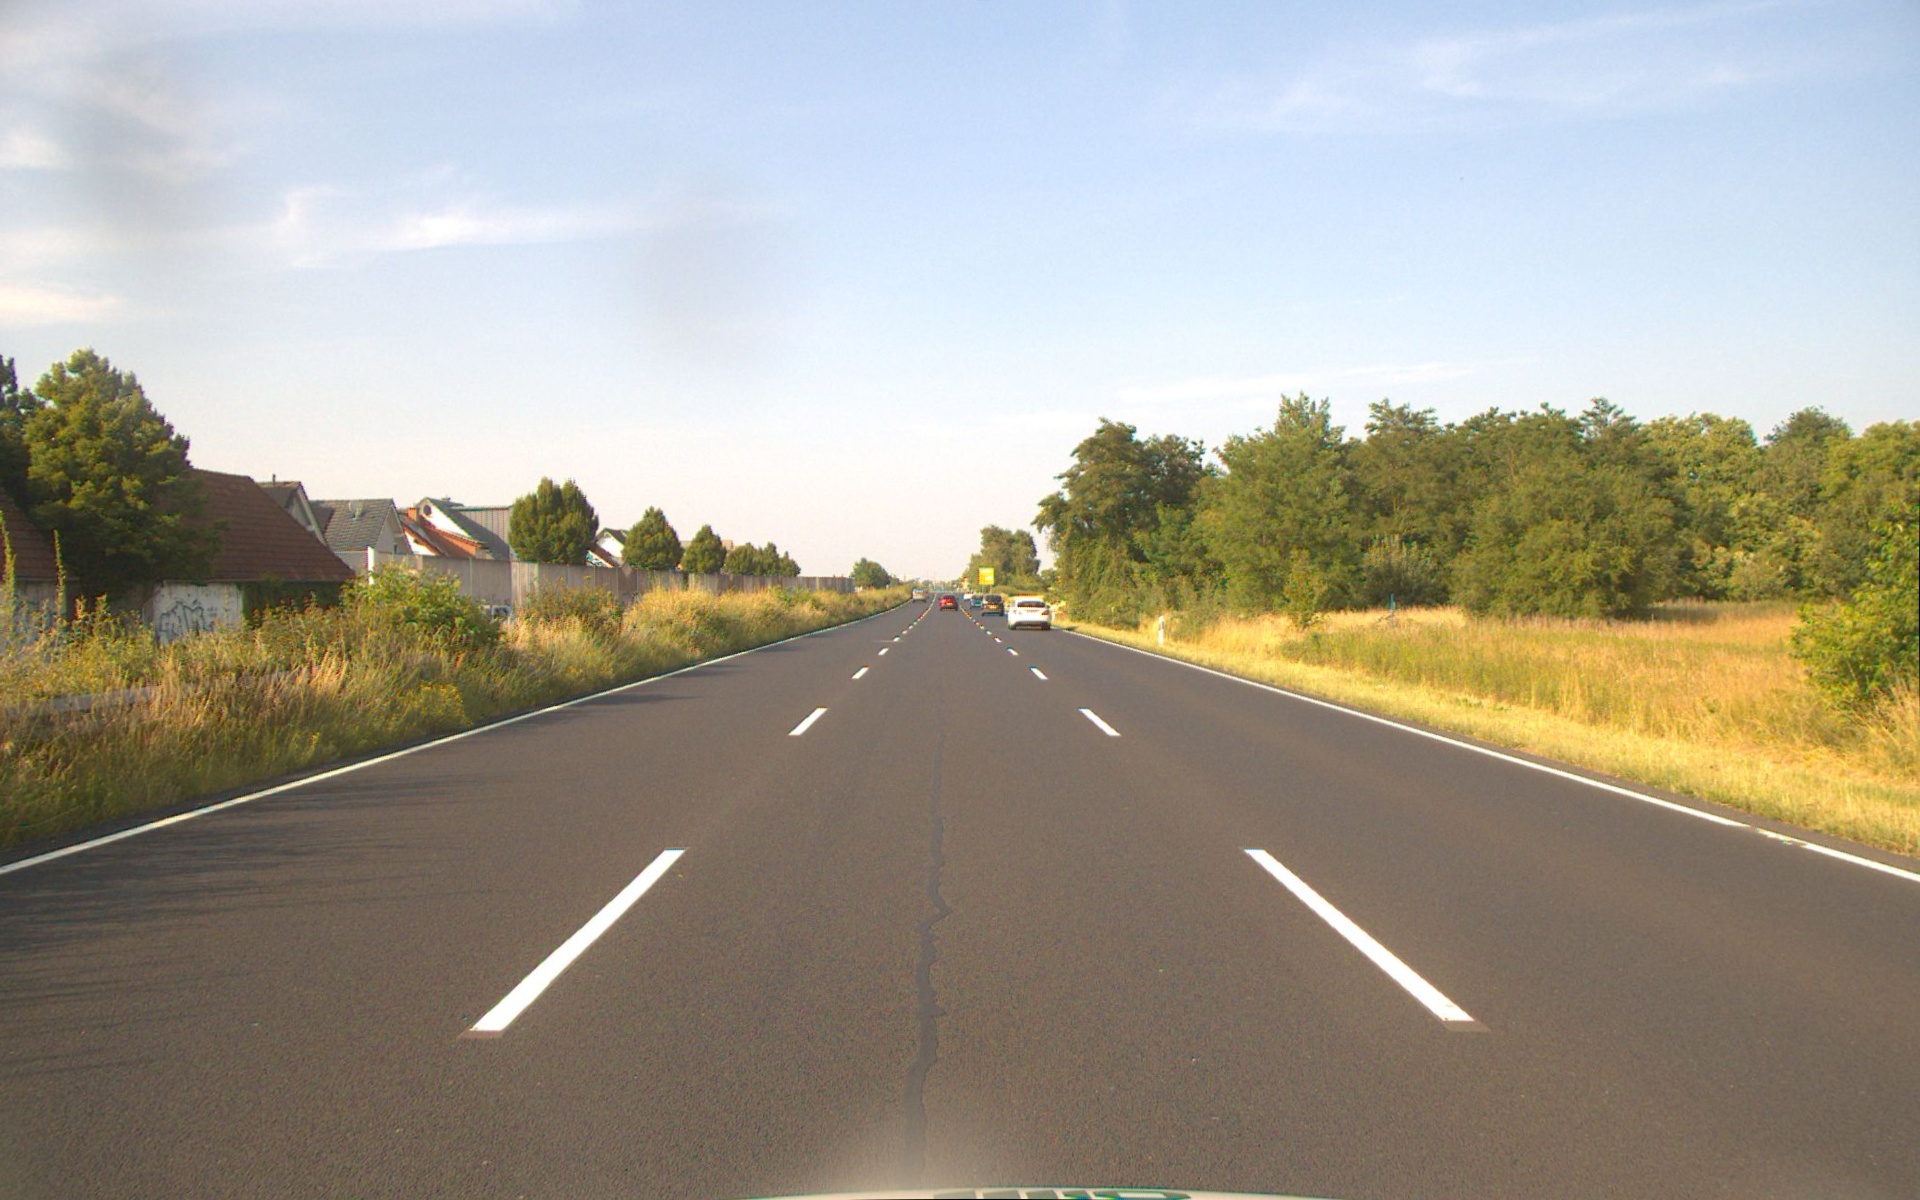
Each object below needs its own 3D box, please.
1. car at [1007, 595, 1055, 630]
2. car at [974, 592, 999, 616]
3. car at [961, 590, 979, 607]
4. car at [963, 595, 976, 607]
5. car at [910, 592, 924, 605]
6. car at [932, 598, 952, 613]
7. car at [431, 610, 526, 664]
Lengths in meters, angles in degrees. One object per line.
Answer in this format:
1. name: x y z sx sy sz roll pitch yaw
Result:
1. car: 3.215 0.558 75.611 1.953 1.543 3.999 1 0 -1
2. car: 2.028 0.323 128.170 1.791 1.758 3.999 1 0 -1
3. car: 1.048 -0.141 172.136 1.796 1.747 3.862 1 0 0
4. car: 1.392 0.179 242.478 1.809 1.780 4.000 1 0 0
5. car: -5.968 -0.192 229.821 1.953 1.747 3.999 1 0 -1
6. car: -1.730 0.515 157.934 1.775 1.461 3.857 1 0 -2
7. car: -14.323 1.066 49.377 1.654 1.535 4.185 1 0 -1
